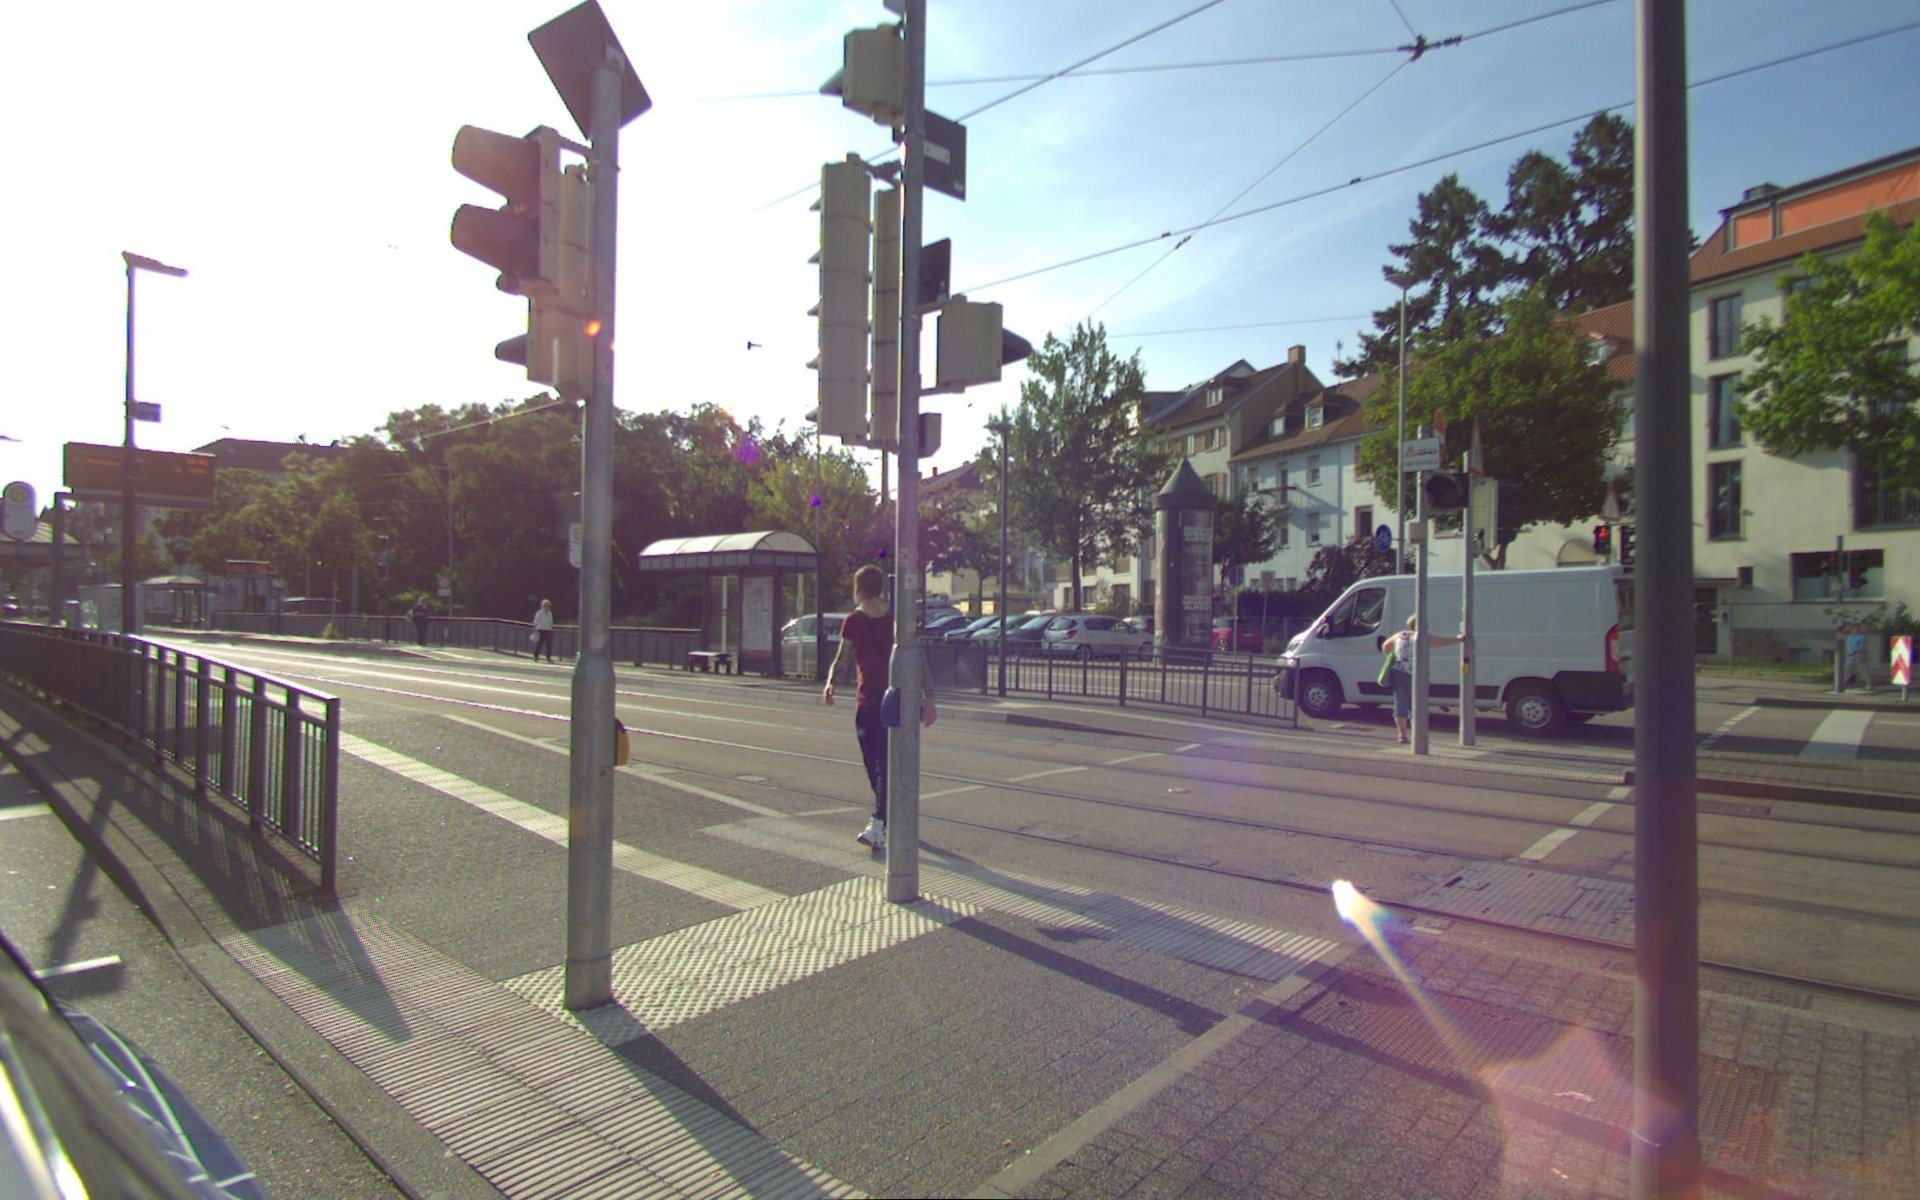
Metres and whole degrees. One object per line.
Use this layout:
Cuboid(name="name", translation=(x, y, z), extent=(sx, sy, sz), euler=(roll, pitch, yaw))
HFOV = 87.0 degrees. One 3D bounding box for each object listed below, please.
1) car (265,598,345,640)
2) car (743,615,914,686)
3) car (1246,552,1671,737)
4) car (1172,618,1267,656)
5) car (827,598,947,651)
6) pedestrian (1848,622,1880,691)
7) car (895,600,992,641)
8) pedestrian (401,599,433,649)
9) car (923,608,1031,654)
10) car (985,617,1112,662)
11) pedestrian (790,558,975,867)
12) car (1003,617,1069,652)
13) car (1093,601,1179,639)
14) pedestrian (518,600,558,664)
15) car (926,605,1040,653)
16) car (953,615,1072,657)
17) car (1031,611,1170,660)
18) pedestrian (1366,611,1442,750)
Cuboid(name="car", translation=(-33.299, 0.950, 51.396), extent=(5.386, 2.029, 2.122), euler=(0, -2, 43))
Cuboid(name="car", translation=(-3.158, 1.172, 23.910), extent=(4.120, 1.537, 1.660), euler=(-2, -3, 39))
Cuboid(name="car", translation=(7.154, 0.599, 15.029), extent=(2.151, 2.256, 5.257), euler=(2, -2, -44))
Cuboid(name="car", translation=(10.182, 1.432, 39.982), extent=(1.523, 1.437, 3.877), euler=(1, -1, -24))
Cuboid(name="car", translation=(-4.018, 1.359, 56.271), extent=(6.487, 2.830, 1.778), euler=(1, -1, -27))
Cuboid(name="pedestrian", translation=(20.435, 1.268, 22.876), extent=(0.398, 1.527, 0.391), euler=(1, -1, -21))
Cuboid(name="car", translation=(-0.726, 0.929, 45.592), extent=(3.931, 1.767, 1.860), euler=(1, -1, -29))
Cuboid(name="pedestrian", translation=(-18.109, 0.793, 33.761), extent=(0.689, 1.640, 0.727), euler=(-1, -2, 42))
Cuboid(name="car", translation=(0.702, 1.238, 40.867), extent=(3.931, 1.767, 1.860), euler=(1, -1, -29))
Cuboid(name="car", translation=(2.994, 1.328, 34.113), extent=(3.931, 1.439, 1.778), euler=(1, -1, -27))
Cuboid(name="pedestrian", translation=(-0.456, 0.624, 6.074), extent=(0.672, 1.683, 0.870), euler=(-1, -2, 45))
Cuboid(name="car", translation=(4.042, 1.837, 54.596), extent=(1.786, 1.813, 4.013), euler=(1, -2, -25))
Cuboid(name="car", translation=(7.760, 0.898, 44.980), extent=(1.786, 1.585, 4.013), euler=(1, -2, -24))
Cuboid(name="pedestrian", translation=(-11.013, 0.838, 26.414), extent=(0.727, 1.640, 0.698), euler=(-1, -2, 42))
Cuboid(name="car", translation=(0.895, 1.098, 38.552), extent=(3.931, 1.767, 1.860), euler=(1, -1, -29))
Cuboid(name="car", translation=(1.898, 1.285, 36.536), extent=(3.931, 1.439, 1.778), euler=(1, -1, -27))
Cuboid(name="car", translation=(4.367, 1.097, 31.403), extent=(3.931, 1.439, 1.778), euler=(1, -1, -27))
Cuboid(name="pedestrian", translation=(5.336, 0.933, 12.150), extent=(0.715, 1.601, 0.584), euler=(0, -2, 39))
